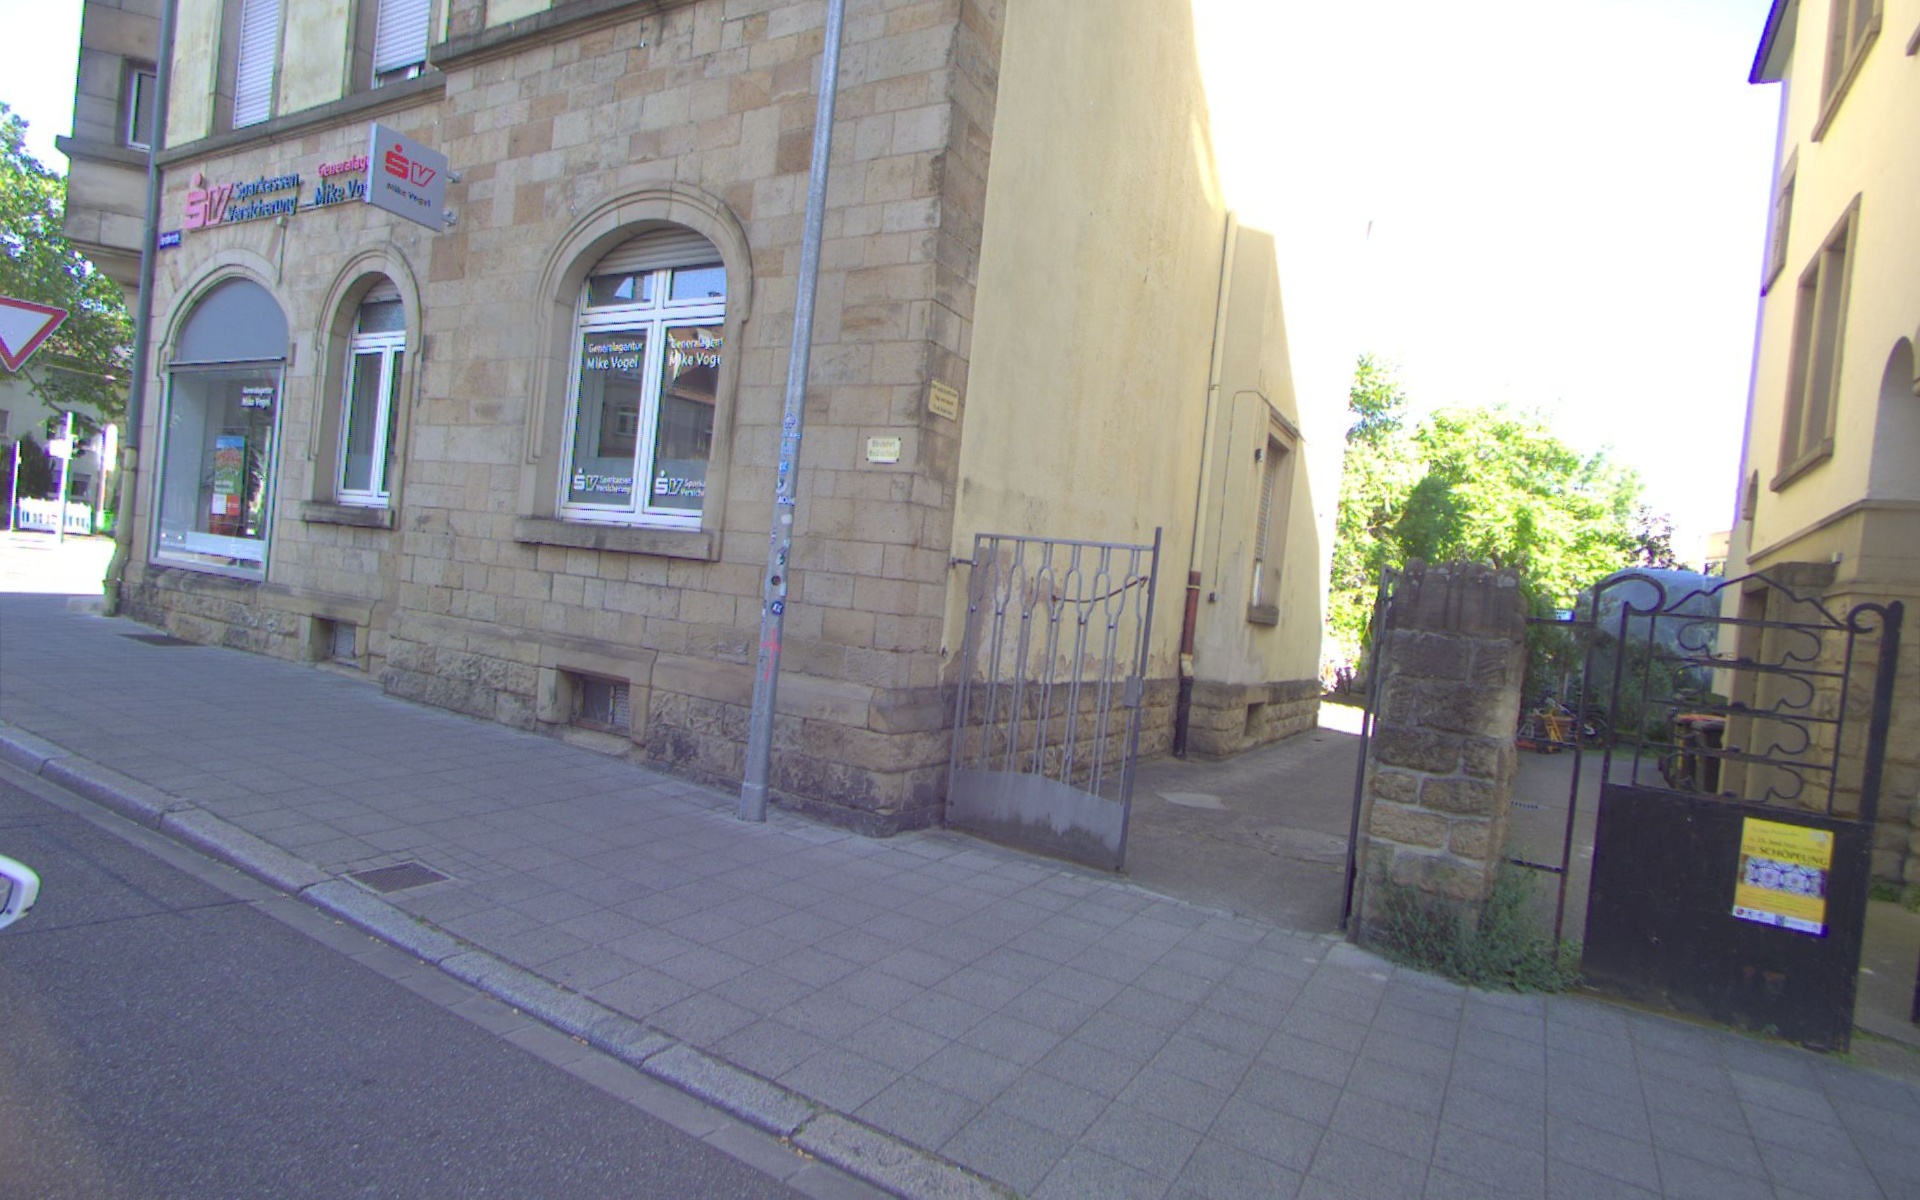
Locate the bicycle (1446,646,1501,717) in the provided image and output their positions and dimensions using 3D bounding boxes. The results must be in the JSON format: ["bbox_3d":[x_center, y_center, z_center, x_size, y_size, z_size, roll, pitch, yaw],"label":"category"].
[{"bbox_3d":[12.599,1.939,24.641,0.904,1.532,2.667,6,2,31],"label":"bicycle"}]

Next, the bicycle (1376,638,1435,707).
[{"bbox_3d":[11.213,1.780,25.255,0.904,1.532,2.667,6,2,31],"label":"bicycle"}]

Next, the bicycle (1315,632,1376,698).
[{"bbox_3d":[9.980,1.645,25.971,0.904,1.532,2.667,6,2,31],"label":"bicycle"}]
